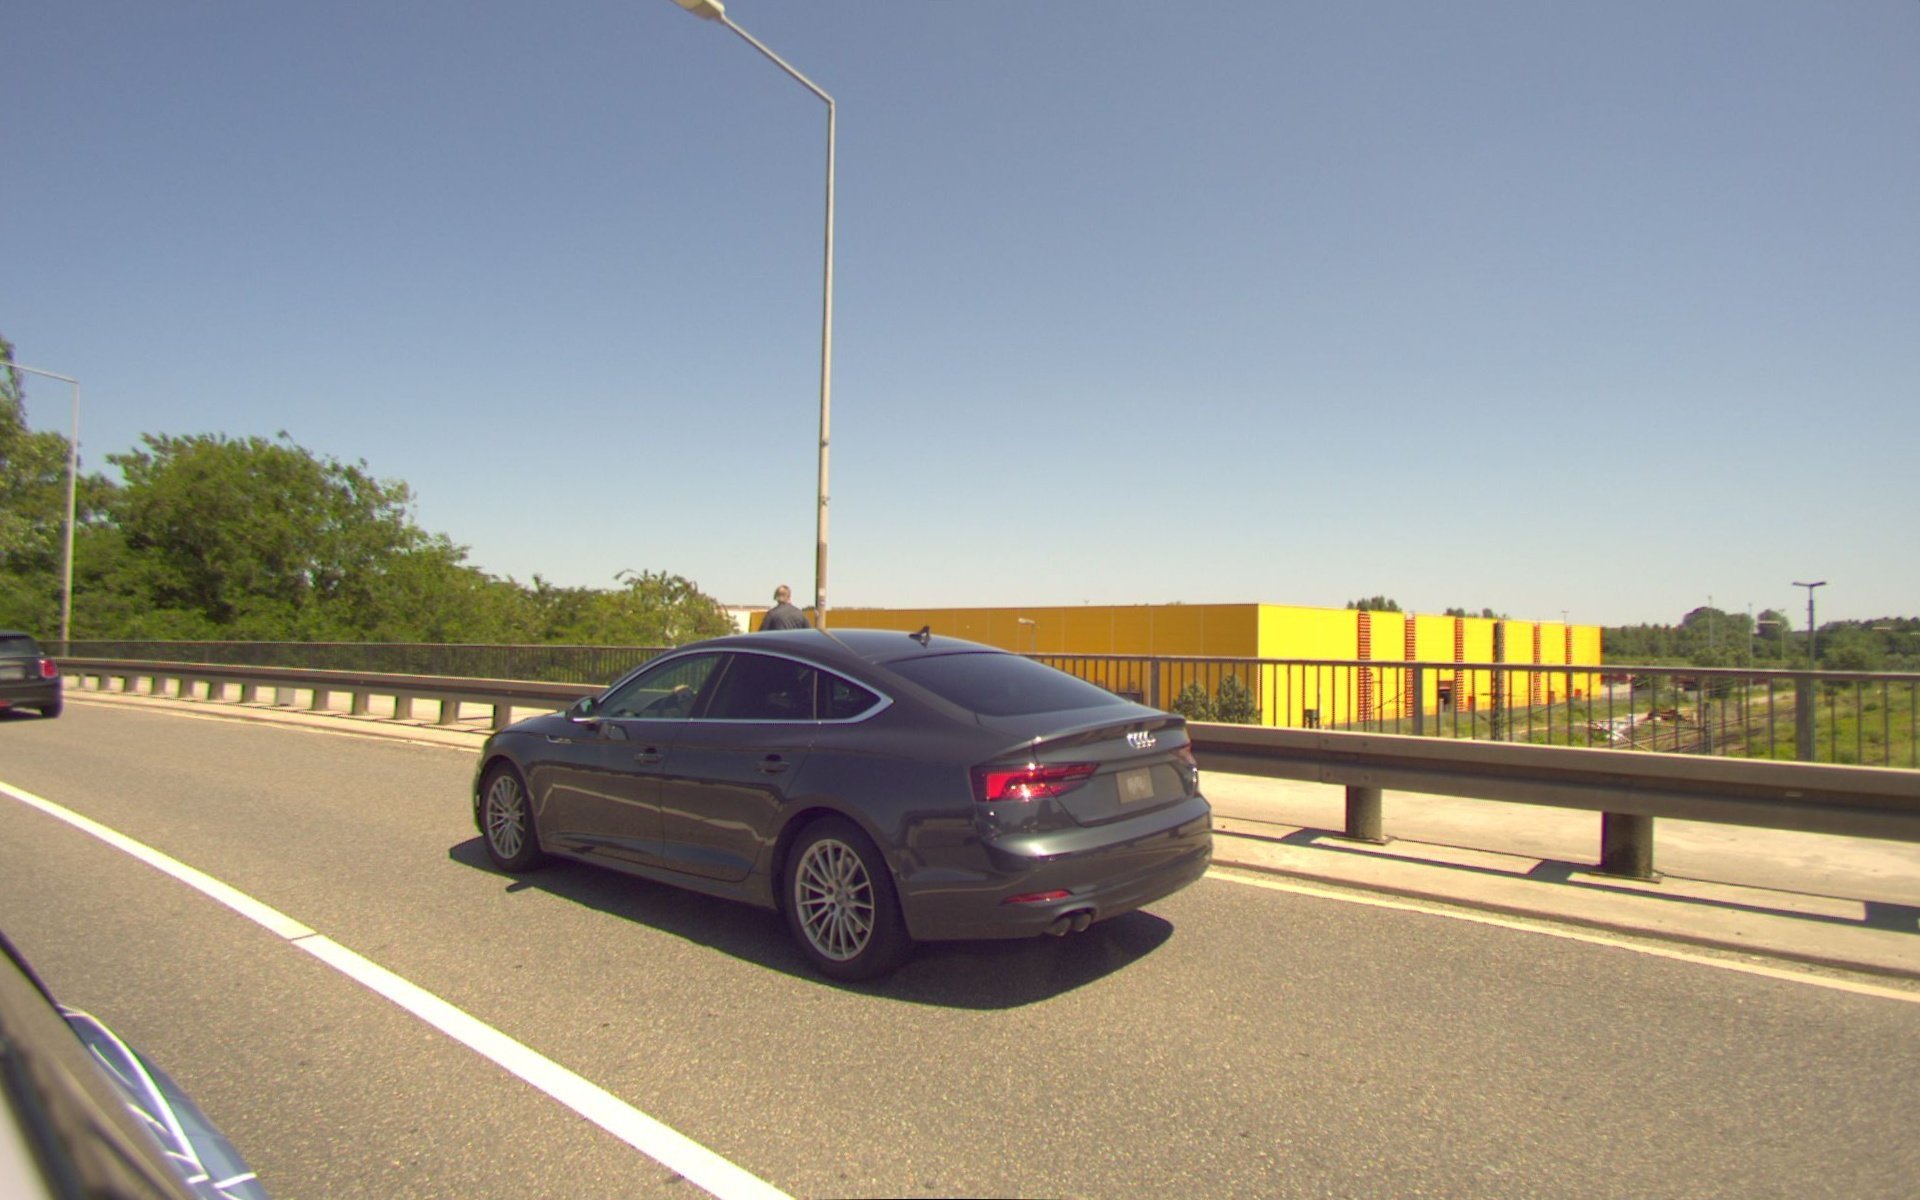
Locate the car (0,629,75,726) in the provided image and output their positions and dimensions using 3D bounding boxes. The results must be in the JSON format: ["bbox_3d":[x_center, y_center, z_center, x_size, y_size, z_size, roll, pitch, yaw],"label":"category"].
[{"bbox_3d":[-15.932,1.184,16.119,3.762,1.430,1.775,0,-2,33],"label":"car"}]

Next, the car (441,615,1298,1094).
[{"bbox_3d":[-0.822,0.802,5.240,4.573,1.426,1.770,-1,-2,42],"label":"car"}]

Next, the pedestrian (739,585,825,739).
[{"bbox_3d":[-2.161,0.728,12.292,0.810,1.796,0.632,-1,0,36],"label":"pedestrian"}]
